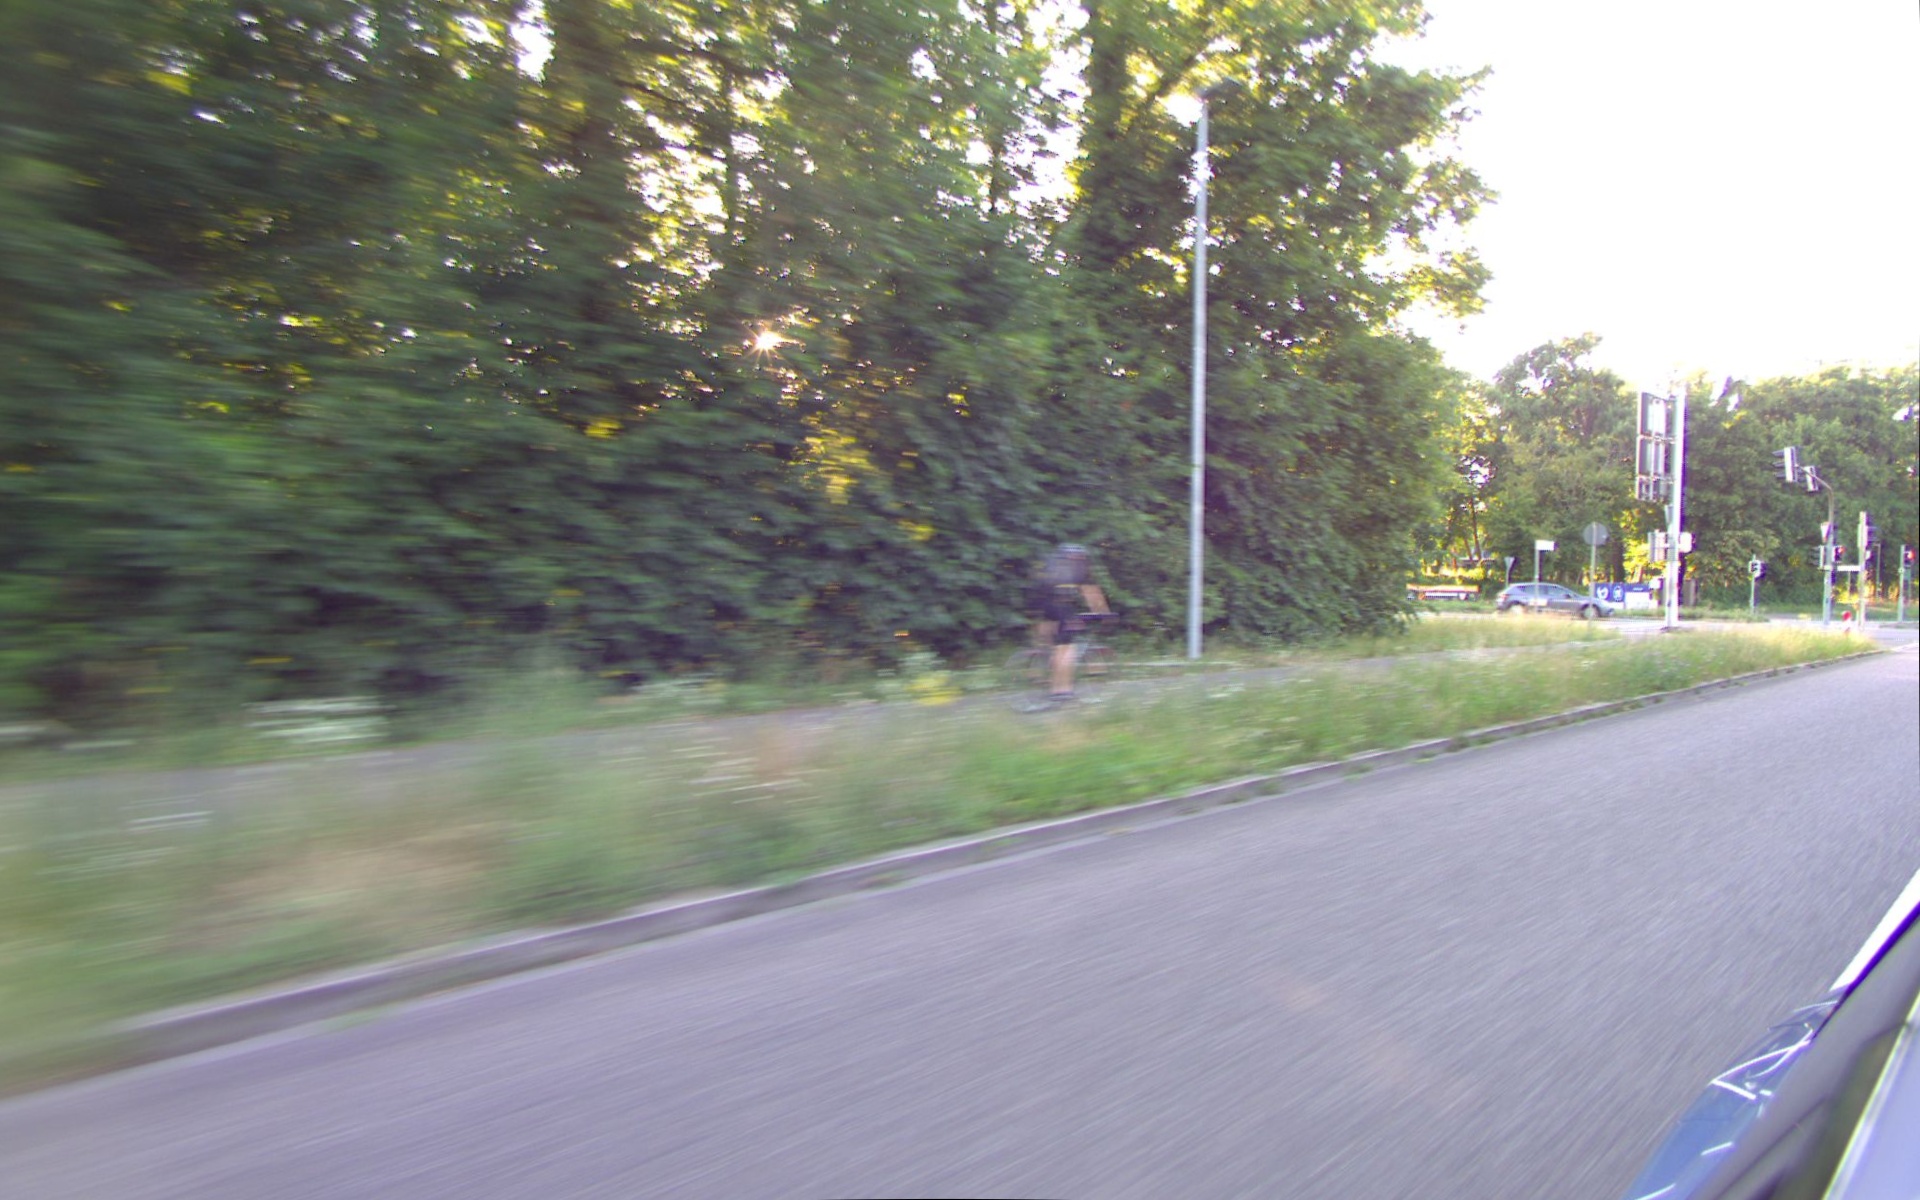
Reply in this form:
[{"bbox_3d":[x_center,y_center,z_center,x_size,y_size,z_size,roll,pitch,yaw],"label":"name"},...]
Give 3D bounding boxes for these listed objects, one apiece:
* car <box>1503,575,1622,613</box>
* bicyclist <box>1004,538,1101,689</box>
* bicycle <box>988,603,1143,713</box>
[{"bbox_3d":[24.616,-0.280,41.539,4.037,1.422,1.855,2,3,28],"label":"car"},{"bbox_3d":[0.941,0.117,10.316,0.766,1.473,0.604,0,2,-39],"label":"bicyclist"},{"bbox_3d":[1.119,0.565,10.554,1.661,1.008,0.612,-1,3,-39],"label":"bicycle"}]
